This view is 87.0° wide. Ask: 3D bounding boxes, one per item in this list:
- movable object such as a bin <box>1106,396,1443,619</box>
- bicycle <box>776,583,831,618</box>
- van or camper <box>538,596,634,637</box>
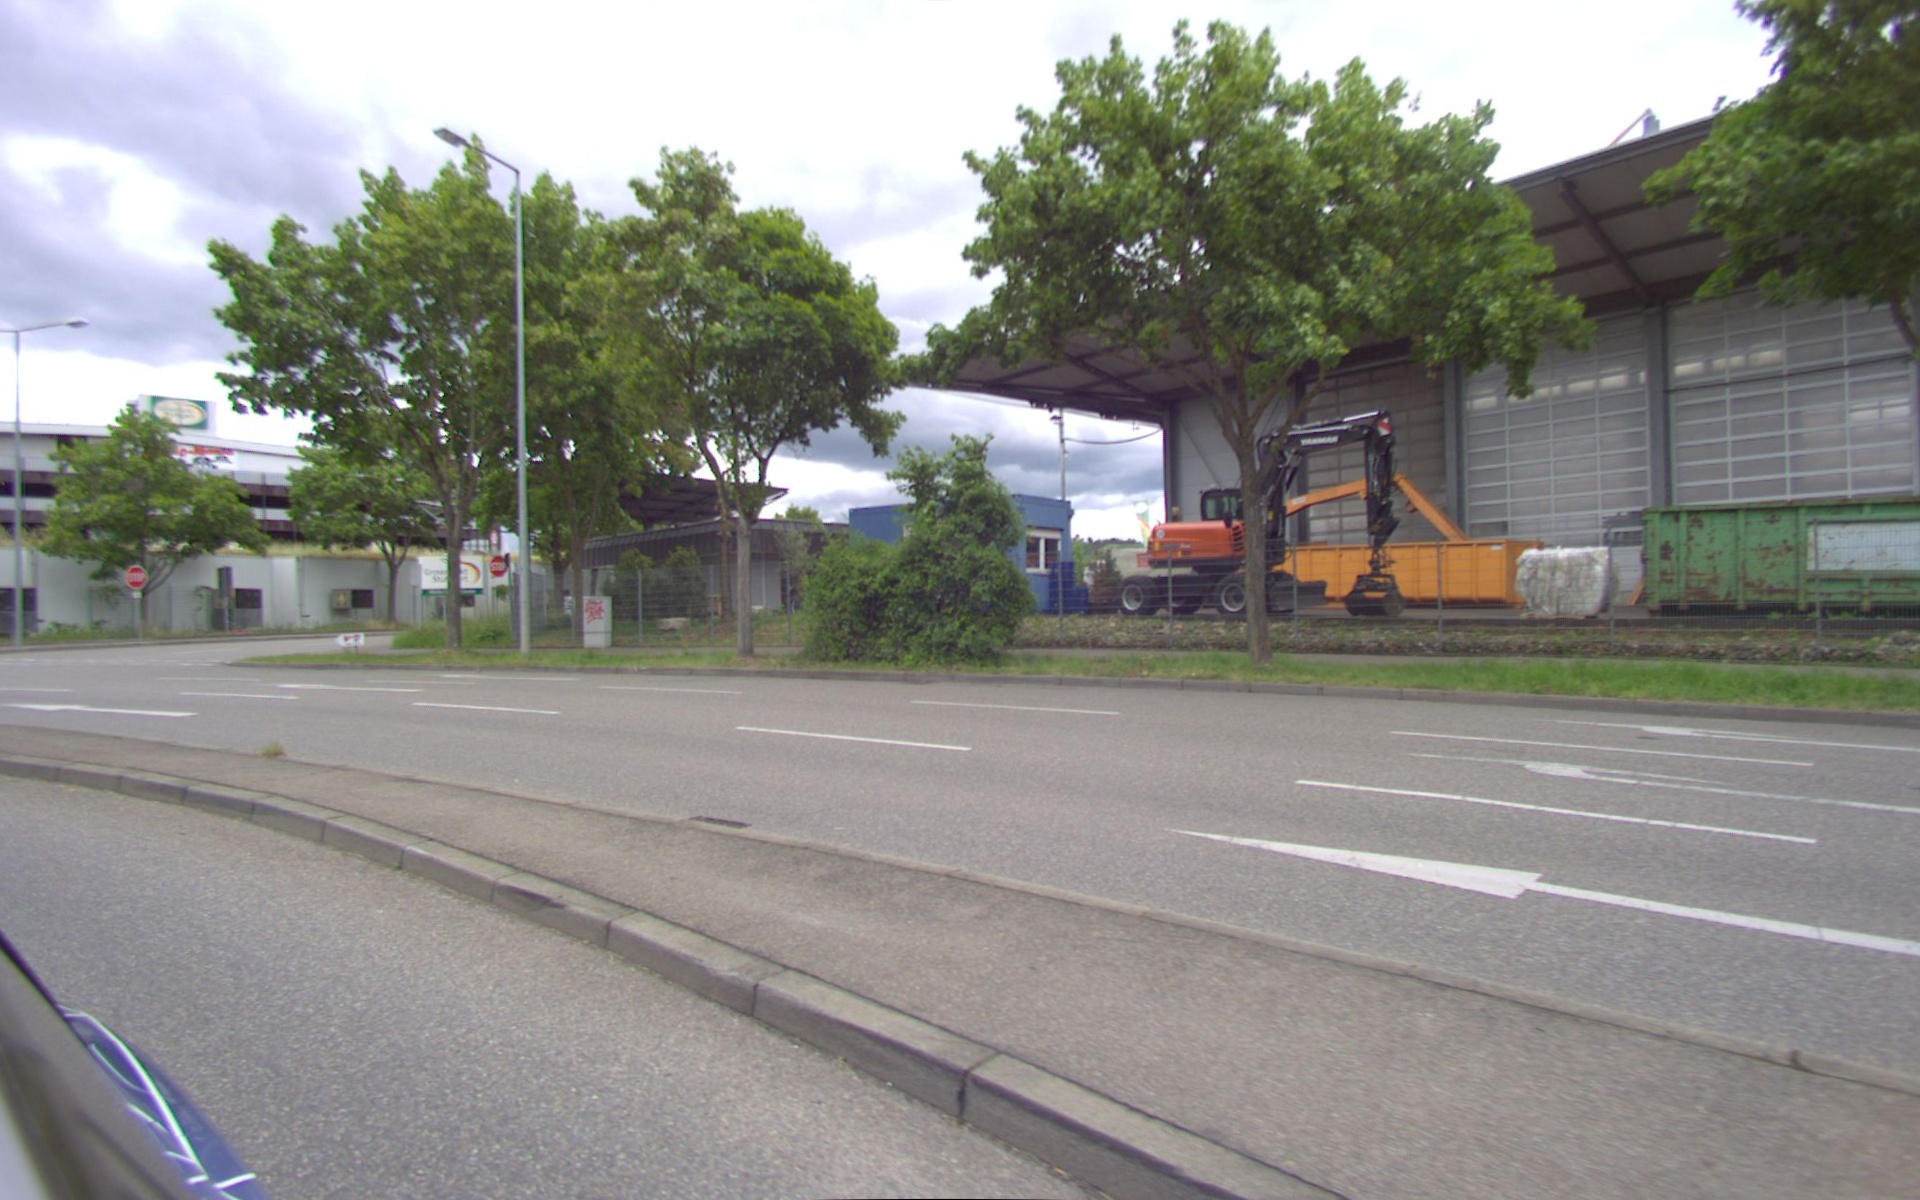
[{"bbox_3d":[6.778,-1.726,22.462,6.549,4.122,2.696,-2,-2,41],"label":"movable object such as a bin"},{"bbox_3d":[-4.746,0.025,30.580,1.760,0.982,0.654,-2,-2,41],"label":"bicycle"},{"bbox_3d":[-19.114,0.819,51.793,4.207,1.978,1.962,-1,0,-37],"label":"van or camper"}]
